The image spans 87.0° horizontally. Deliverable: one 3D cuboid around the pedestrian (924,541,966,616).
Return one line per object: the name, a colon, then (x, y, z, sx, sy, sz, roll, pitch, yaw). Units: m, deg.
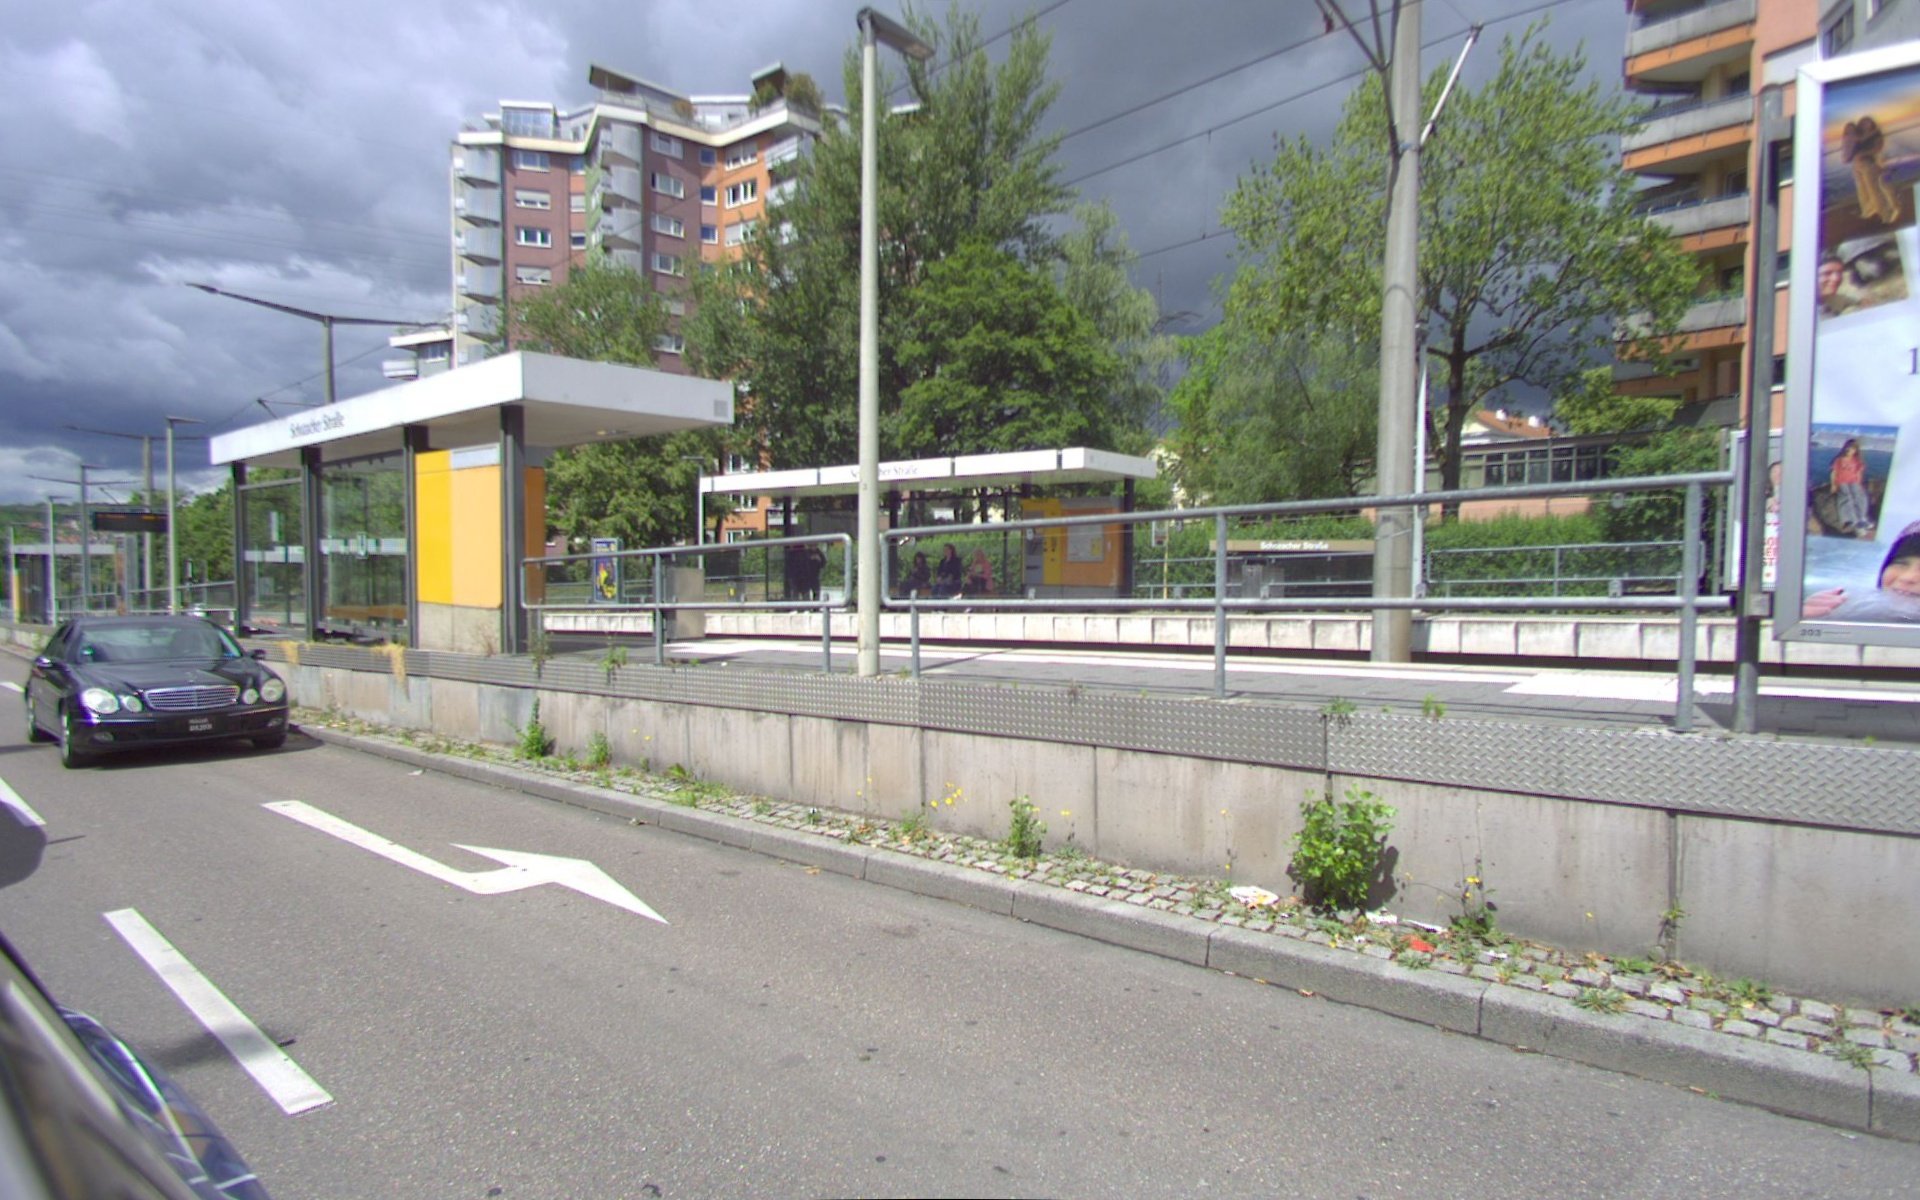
pedestrian: (-0.296, -0.417, 19.766, 0.463, 1.428, 0.704, -1, 0, 40)

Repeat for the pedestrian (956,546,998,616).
pedestrian: (0.325, -0.353, 19.210, 0.463, 1.287, 0.704, -1, 0, 40)

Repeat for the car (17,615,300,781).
car: (-8.747, 0.888, 10.921, 4.065, 1.395, 1.797, 0, 0, 43)

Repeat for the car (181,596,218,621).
car: (-63.071, 0.684, 83.903, 4.000, 2.029, 1.714, 0, 0, 43)

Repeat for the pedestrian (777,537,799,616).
pedestrian: (-3.779, -0.507, 22.286, 0.421, 1.726, 0.353, -1, 0, -1)

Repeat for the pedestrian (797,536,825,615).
pedestrian: (-3.285, -0.527, 22.375, 0.544, 1.726, 0.386, -1, 0, -1)

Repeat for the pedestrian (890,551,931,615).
pedestrian: (-1.008, -0.340, 20.570, 0.463, 1.287, 0.704, -1, 0, 40)
